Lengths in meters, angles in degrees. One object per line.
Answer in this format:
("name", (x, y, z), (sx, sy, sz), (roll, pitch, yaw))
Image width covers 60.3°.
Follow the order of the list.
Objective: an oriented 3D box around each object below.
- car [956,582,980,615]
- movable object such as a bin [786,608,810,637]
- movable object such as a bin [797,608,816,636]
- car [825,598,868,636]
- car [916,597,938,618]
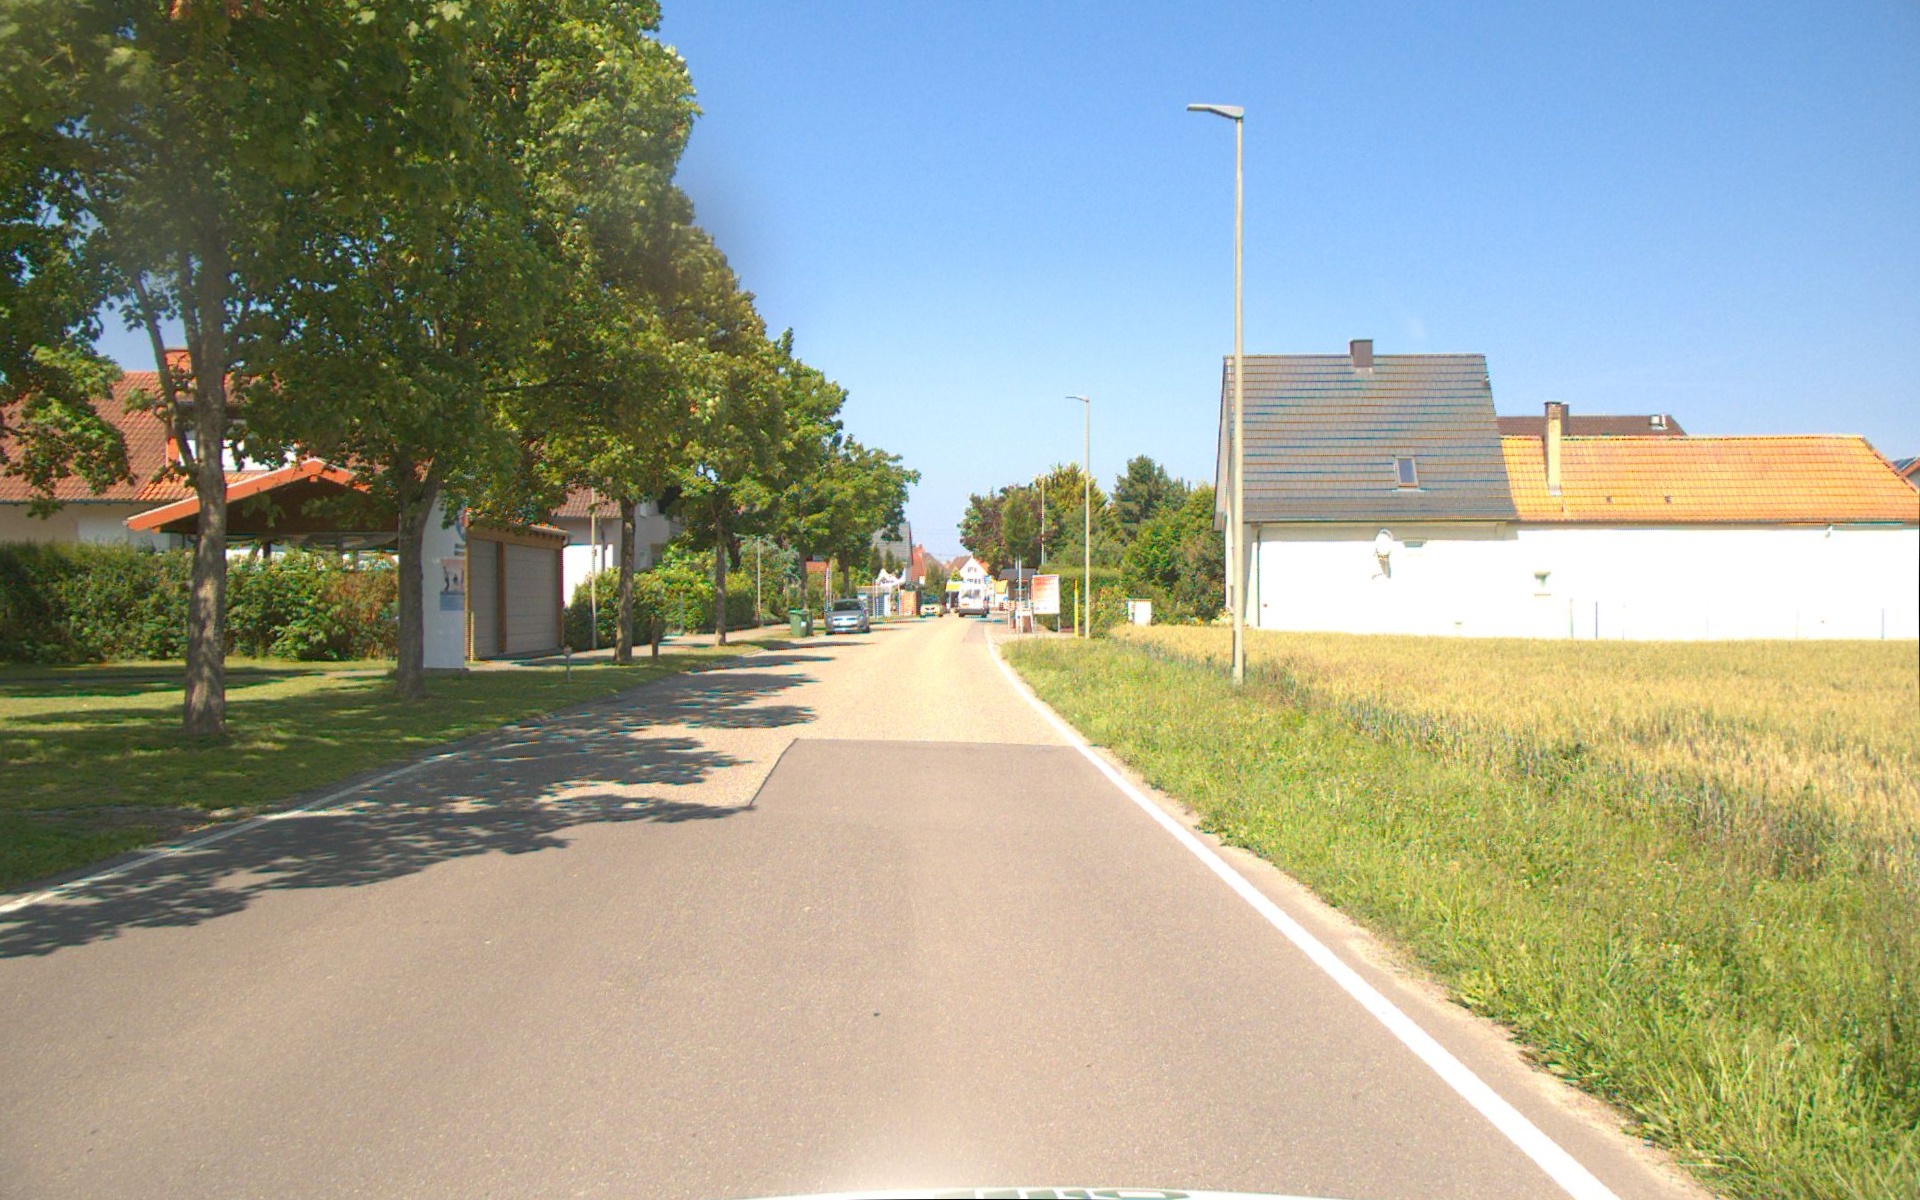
("car", (0.602, -0.108, 124.931), (1.702, 2.475, 4.374), (-1, 0, 0))
("movable object such as a bin", (-6.350, 0.878, 64.664), (0.699, 1.097, 0.639), (-1, 0, 25))
("movable object such as a bin", (-6.060, 0.851, 65.411), (0.562, 1.097, 0.599), (-1, 0, 13))
("car", (-4.783, 0.704, 70.051), (1.614, 1.448, 4.079), (-3, 0, -2))
("car", (-2.608, 0.590, 129.063), (1.632, 1.550, 3.440), (-1, 0, -3))
